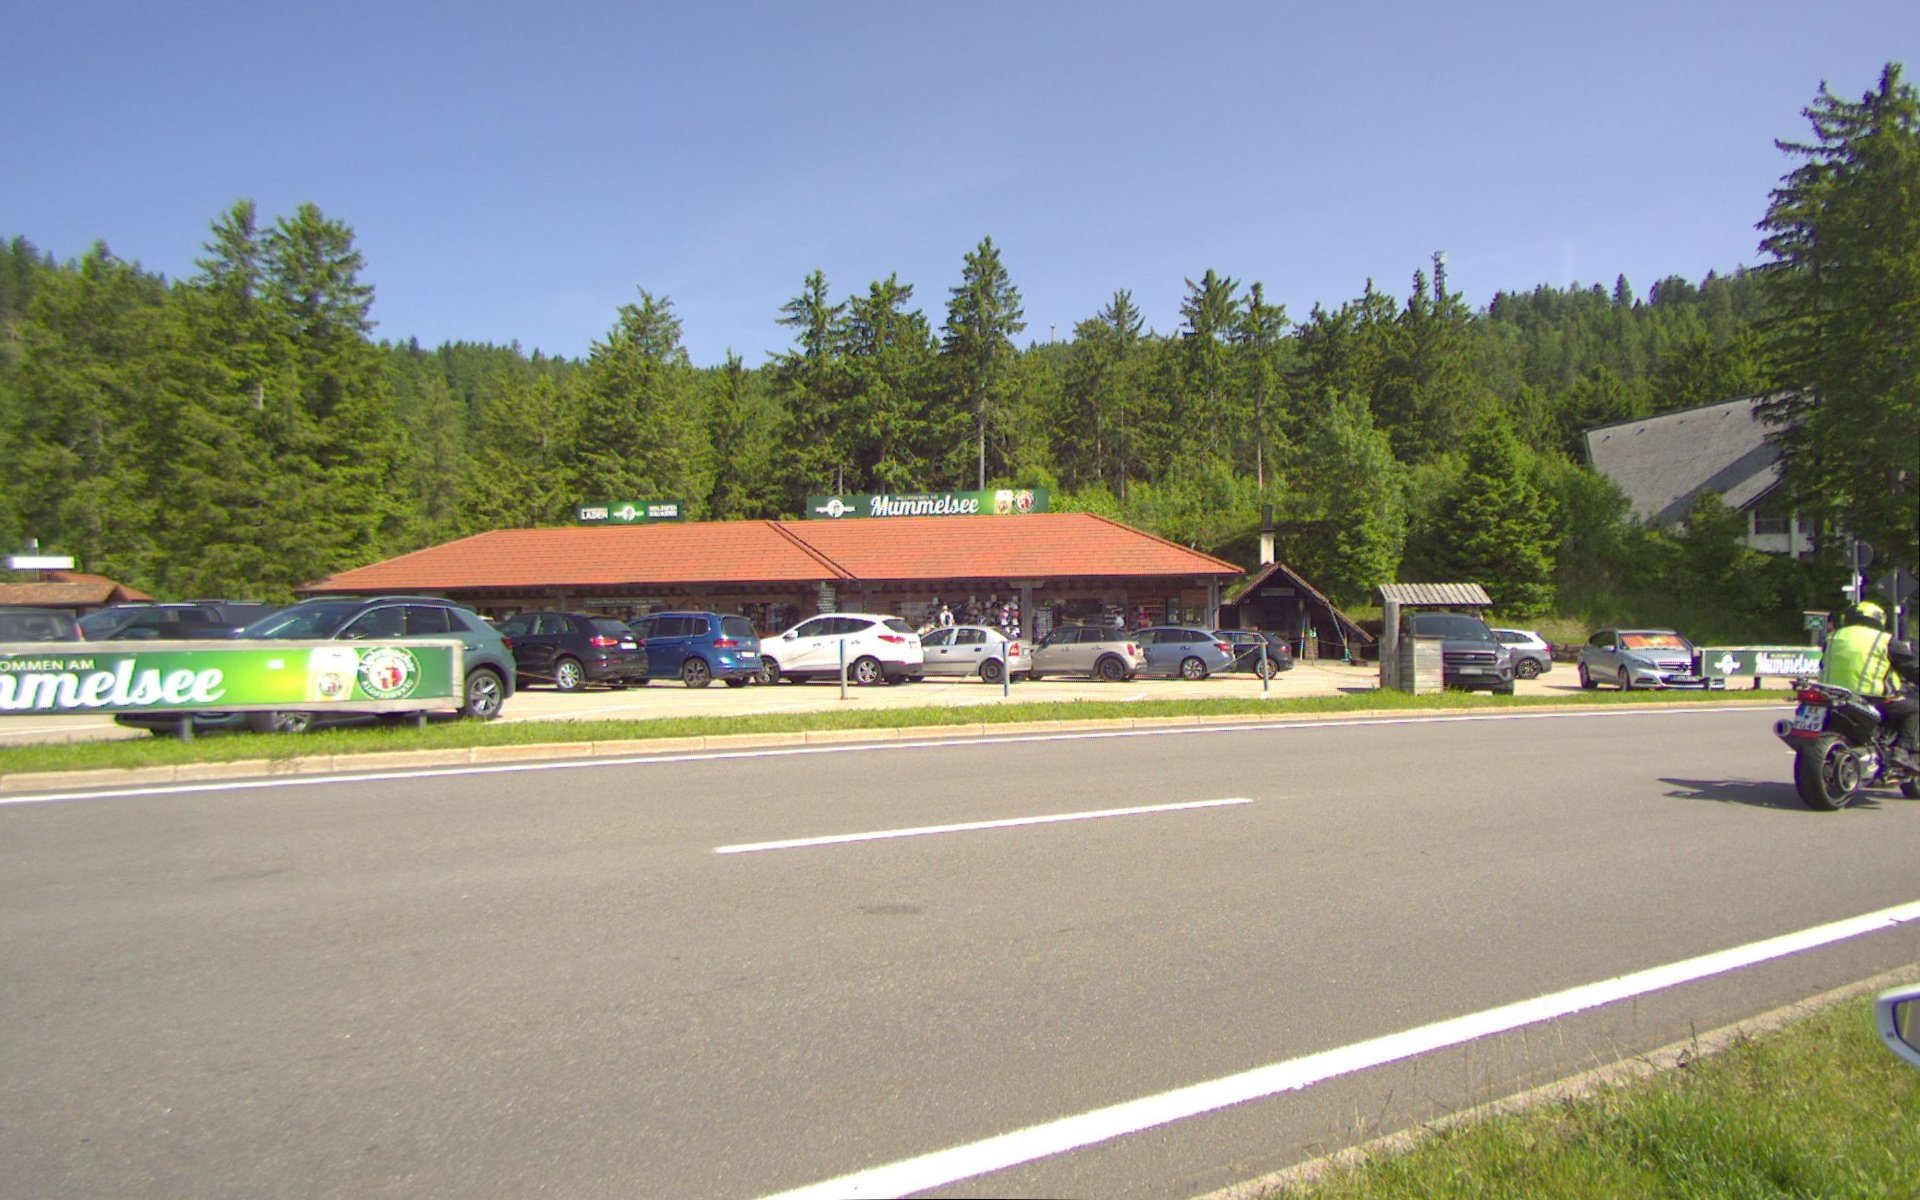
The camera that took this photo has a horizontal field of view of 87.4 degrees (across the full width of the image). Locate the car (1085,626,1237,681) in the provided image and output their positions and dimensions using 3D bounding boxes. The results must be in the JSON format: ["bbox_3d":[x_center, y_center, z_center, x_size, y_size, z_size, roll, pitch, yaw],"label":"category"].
[{"bbox_3d":[5.597,1.504,27.977,3.921,1.438,1.685,-2,-3,20],"label":"car"}]

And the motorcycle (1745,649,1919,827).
[{"bbox_3d":[7.315,1.018,7.974,2.257,1.193,0.819,1,1,-27],"label":"motorcycle"}]

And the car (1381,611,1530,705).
[{"bbox_3d":[9.804,1.089,20.210,1.753,1.655,4.214,1,-1,13],"label":"car"}]

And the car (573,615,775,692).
[{"bbox_3d":[-6.393,1.196,22.539,3.921,1.594,2.000,-2,-2,19],"label":"car"}]

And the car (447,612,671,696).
[{"bbox_3d":[-8.206,1.102,20.645,3.921,1.594,2.000,-2,-2,19],"label":"car"}]

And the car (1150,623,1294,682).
[{"bbox_3d":[7.812,1.547,29.845,3.922,1.639,2.000,-2,-1,21],"label":"car"}]

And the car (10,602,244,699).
[{"bbox_3d":[-17.773,1.078,21.481,3.920,1.929,2.001,-1,-2,16],"label":"car"}]

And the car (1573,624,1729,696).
[{"bbox_3d":[15.261,1.294,22.440,1.709,1.460,3.972,-1,-2,17],"label":"car"}]

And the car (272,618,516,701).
[{"bbox_3d":[-10.715,1.114,19.067,3.921,1.439,1.908,-2,-2,19],"label":"car"}]

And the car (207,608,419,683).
[{"bbox_3d":[-14.720,1.046,22.933,3.920,1.594,2.001,-1,-2,16],"label":"car"}]

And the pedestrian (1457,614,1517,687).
[{"bbox_3d":[13.048,1.233,24.891,0.948,1.757,0.893,-1,-1,-27],"label":"pedestrian"}]

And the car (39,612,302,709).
[{"bbox_3d":[-14.011,1.046,17.855,3.922,1.565,1.899,-2,-1,20],"label":"car"}]

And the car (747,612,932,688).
[{"bbox_3d":[-2.811,1.191,23.680,3.951,1.694,1.777,-1,-3,18],"label":"car"}]

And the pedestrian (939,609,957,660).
[{"bbox_3d":[-0.465,1.299,37.937,0.518,1.898,0.547,1,-1,17],"label":"pedestrian"}]

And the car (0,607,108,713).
[{"bbox_3d":[-16.022,0.963,16.309,3.659,1.609,1.735,-2,-1,19],"label":"car"}]

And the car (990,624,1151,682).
[{"bbox_3d":[2.922,1.419,26.431,3.922,1.438,1.685,-2,-3,20],"label":"car"}]

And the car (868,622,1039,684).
[{"bbox_3d":[-0.139,1.344,25.255,3.945,1.487,1.777,-1,-3,18],"label":"car"}]

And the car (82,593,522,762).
[{"bbox_3d":[-7.271,0.758,11.641,1.706,1.588,4.060,0,-1,19],"label":"car"}]

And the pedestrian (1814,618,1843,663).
[{"bbox_3d":[30.330,1.412,35.085,0.545,1.553,0.575,-1,-1,-27],"label":"pedestrian"}]

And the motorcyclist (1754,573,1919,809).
[{"bbox_3d":[7.250,0.658,7.967,1.276,1.697,1.022,1,1,-27],"label":"motorcyclist"}]

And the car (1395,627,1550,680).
[{"bbox_3d":[15.650,1.618,30.860,3.919,1.514,1.685,-1,0,14],"label":"car"}]
